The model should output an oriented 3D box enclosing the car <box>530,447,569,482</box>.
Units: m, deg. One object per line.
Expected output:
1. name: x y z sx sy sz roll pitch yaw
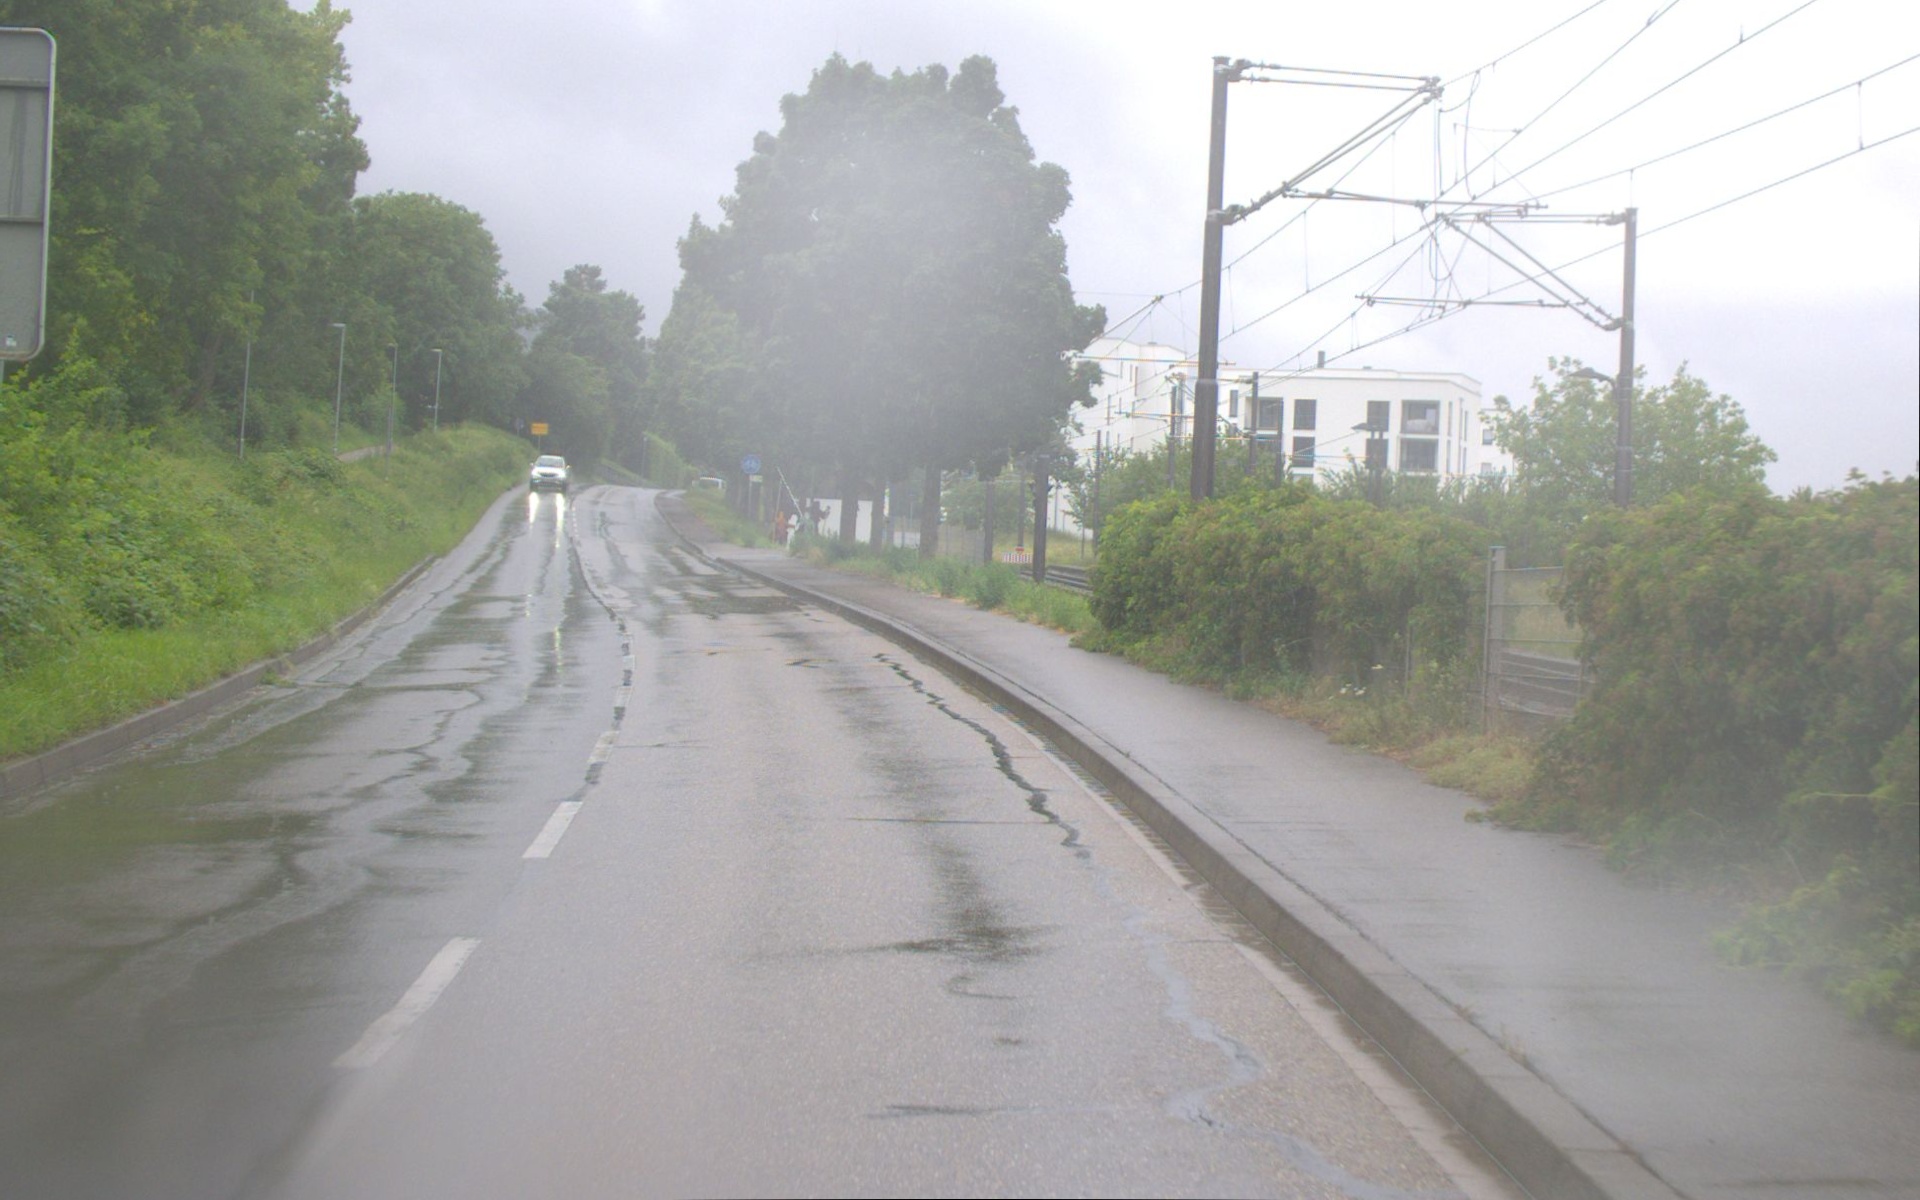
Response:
1. car: -20.130 -6.664 168.695 1.744 1.606 4.089 3 2 -6
